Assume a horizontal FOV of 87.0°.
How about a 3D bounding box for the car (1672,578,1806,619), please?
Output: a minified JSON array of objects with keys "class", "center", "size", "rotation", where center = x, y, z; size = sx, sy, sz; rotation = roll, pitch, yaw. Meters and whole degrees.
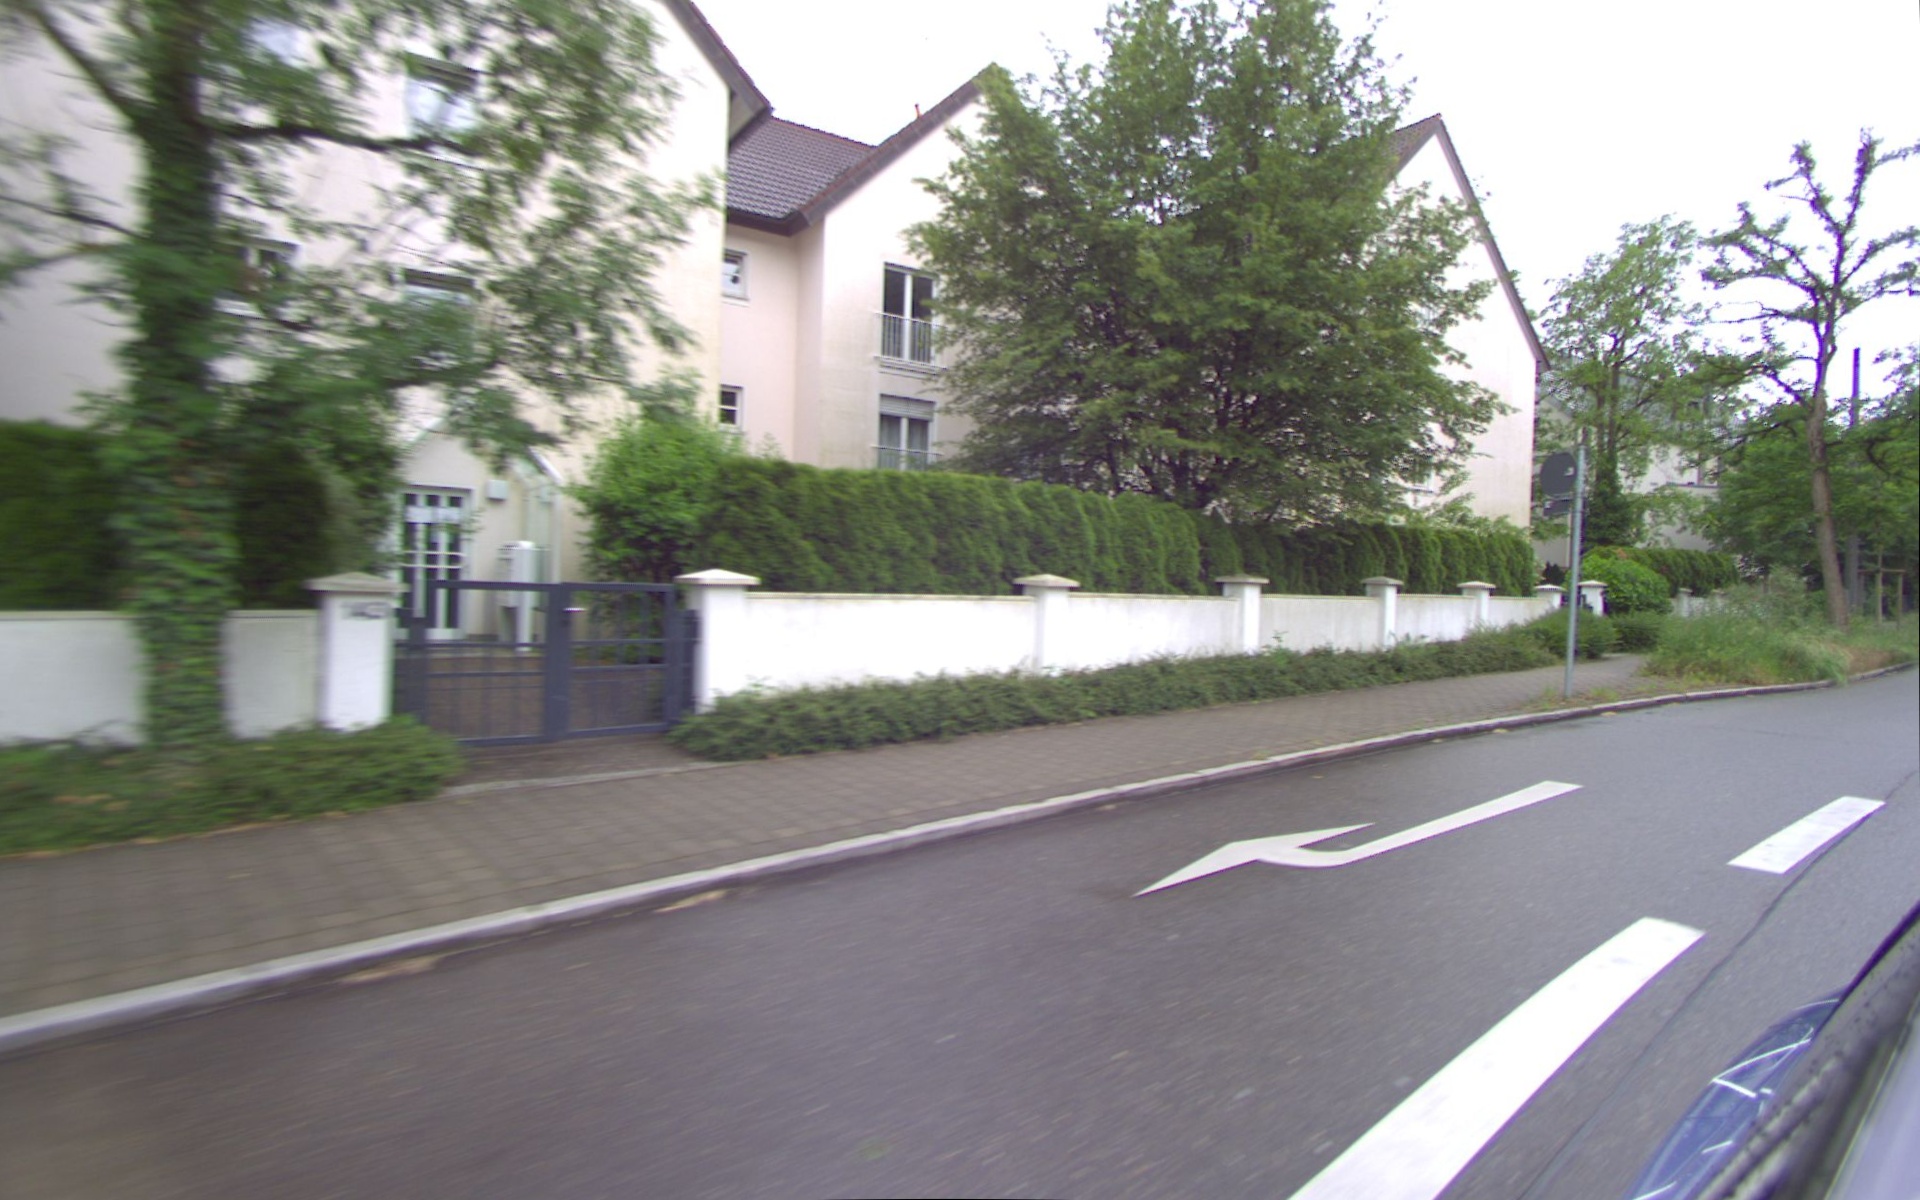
[{"class":"car","center":[28.986,-0.096,37.763],"size":[1.506,1.382,3.642],"rotation":[0,2,-32]}]
